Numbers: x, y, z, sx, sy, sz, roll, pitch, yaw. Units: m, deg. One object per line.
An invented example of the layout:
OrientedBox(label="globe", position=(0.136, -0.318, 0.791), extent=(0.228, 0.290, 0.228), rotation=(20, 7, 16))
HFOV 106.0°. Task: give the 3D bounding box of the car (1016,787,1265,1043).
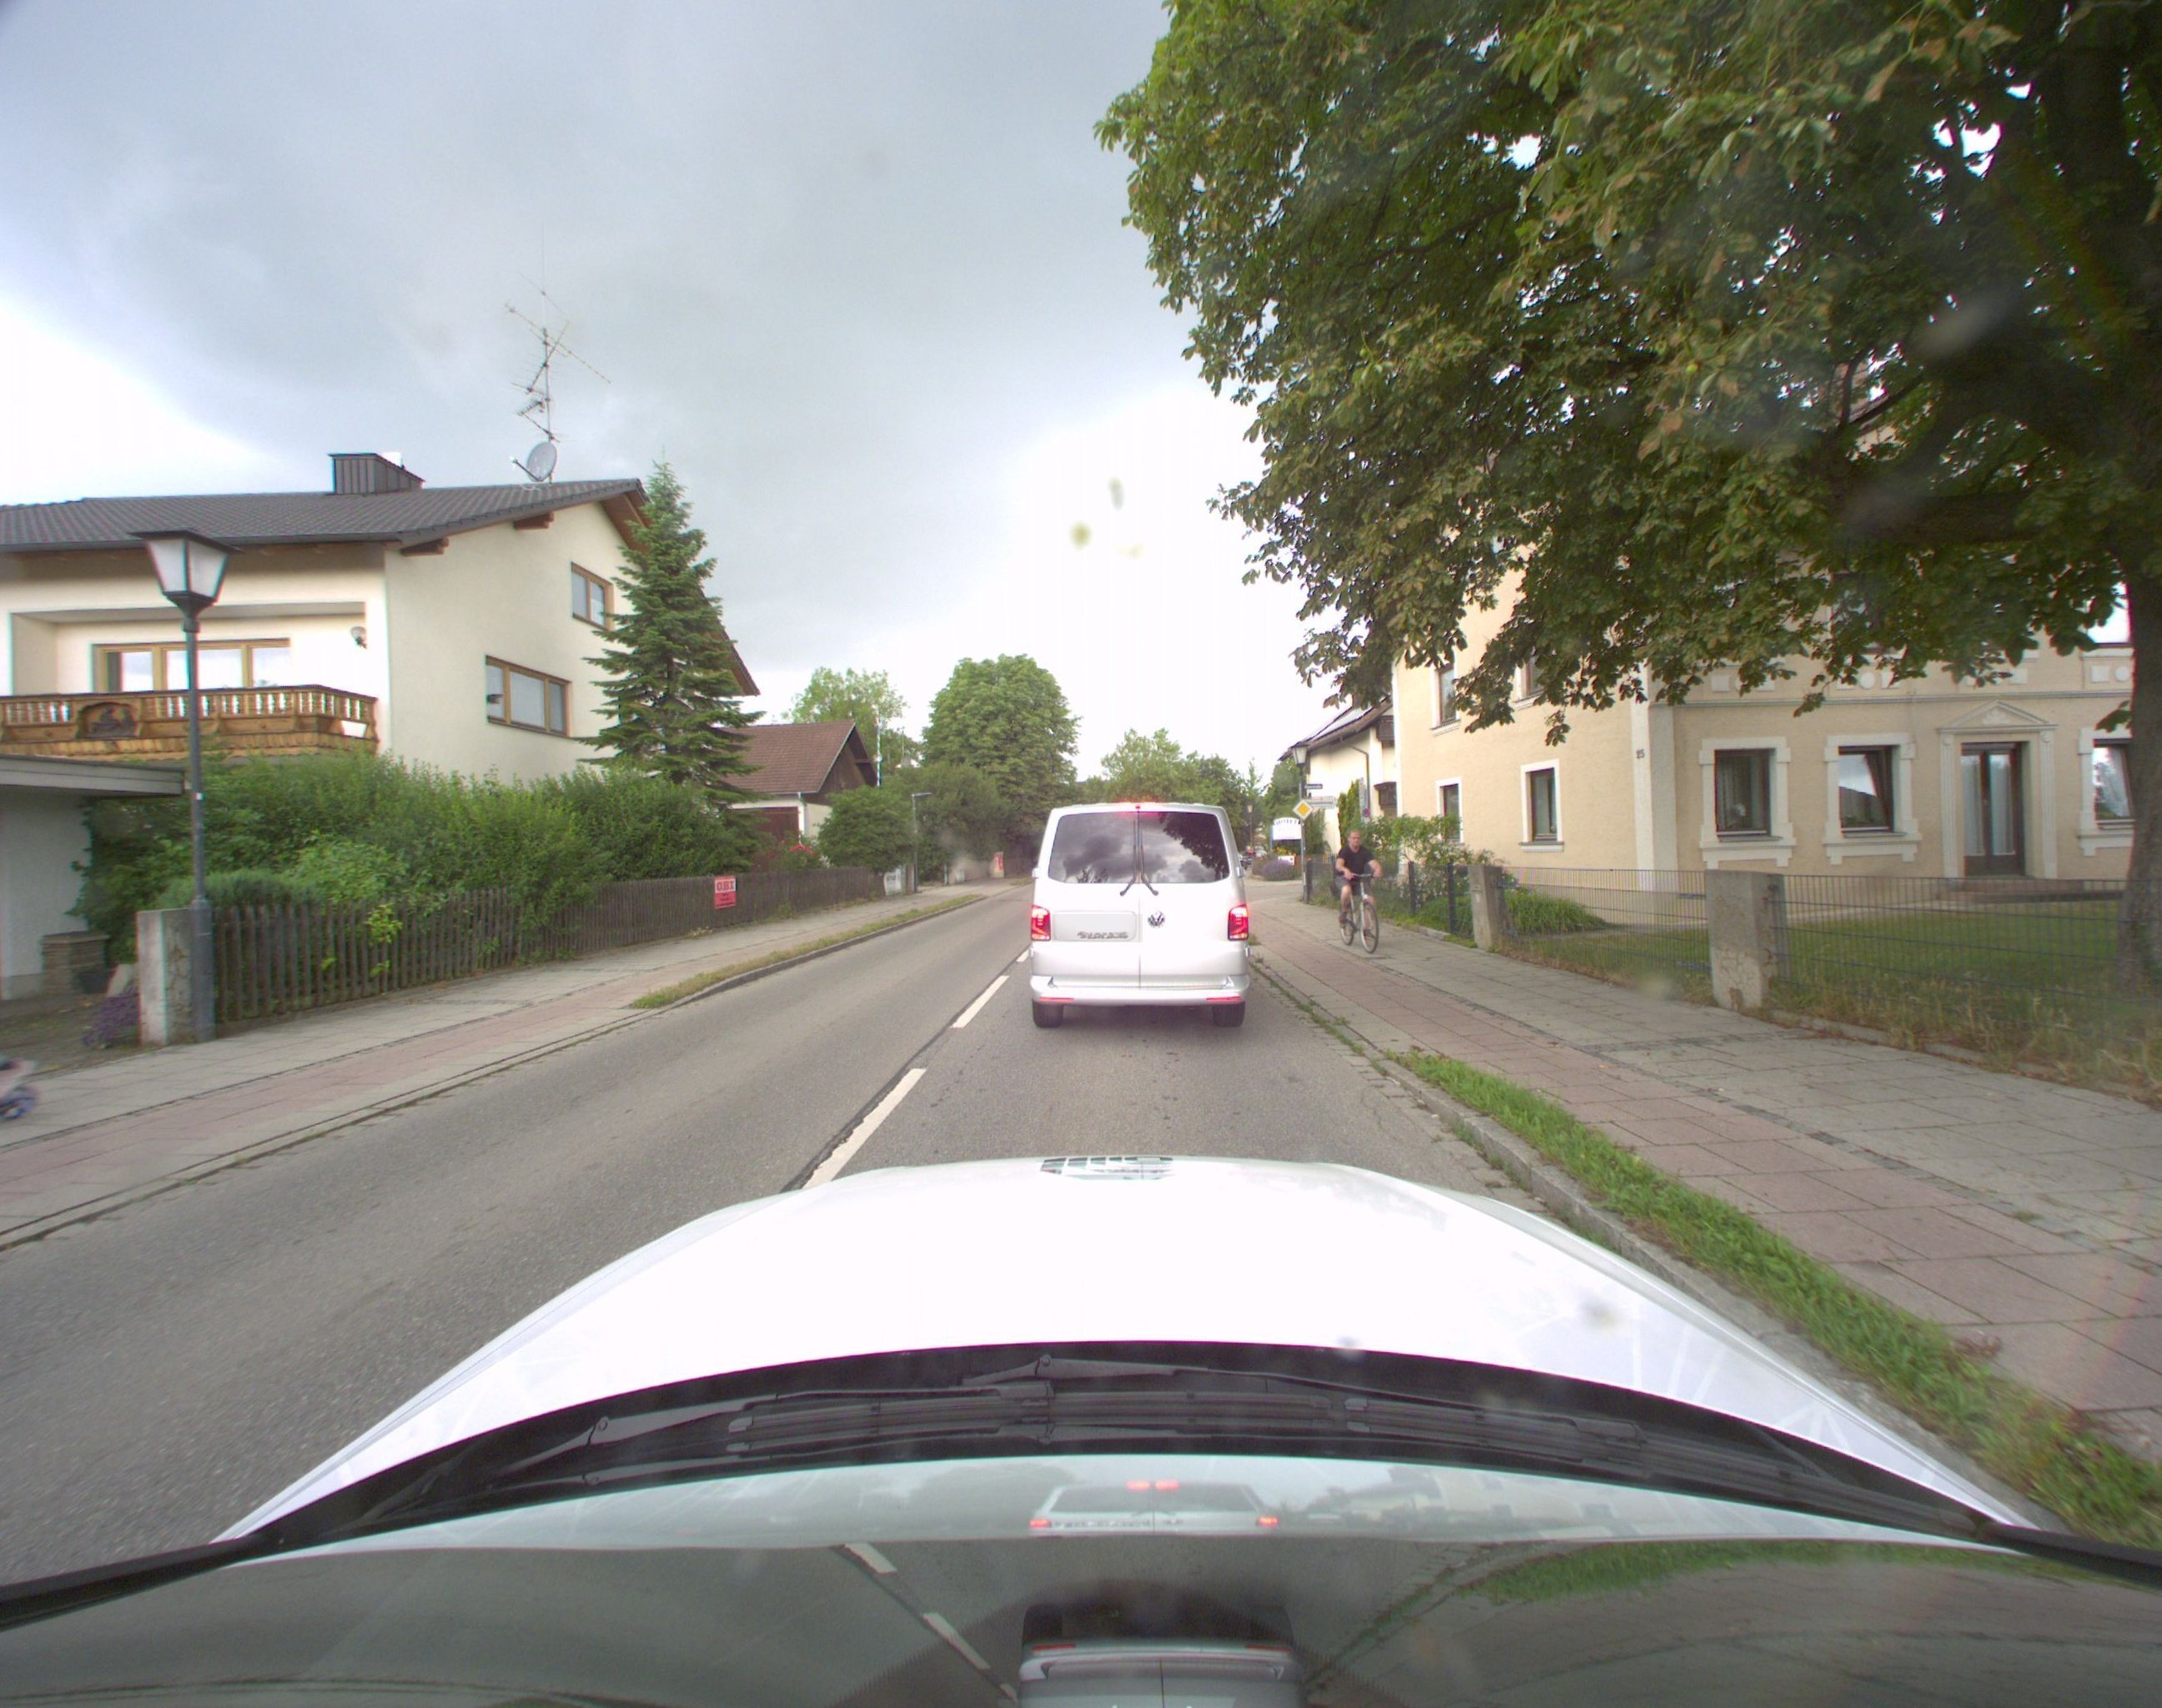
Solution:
OrientedBox(label="car", position=(0.558, 0.476, 8.269), extent=(1.873, 1.940, 3.924), rotation=(-2, 0, 3))

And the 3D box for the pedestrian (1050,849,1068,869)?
OrientedBox(label="pedestrian", position=(-2.071, 0.466, 77.577), extent=(1.327, 1.803, 1.059), rotation=(-1, 0, -30))

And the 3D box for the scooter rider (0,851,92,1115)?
OrientedBox(label="scooter rider", position=(-6.360, 0.735, 4.659), extent=(0.500, 1.489, 0.717), rotation=(-1, 0, 2))

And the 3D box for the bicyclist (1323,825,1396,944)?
OrientedBox(label="bicyclist", position=(4.041, 0.429, 11.884), extent=(0.733, 1.632, 0.891), rotation=(-2, 0, 3))

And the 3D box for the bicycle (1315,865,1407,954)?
OrientedBox(label="bicycle", position=(4.048, 0.760, 11.937), extent=(0.761, 1.143, 1.847), rotation=(-3, 0, 4))

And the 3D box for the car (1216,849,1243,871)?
OrientedBox(label="car", position=(12.545, 0.461, 68.514), extent=(1.867, 1.748, 4.097), rotation=(-2, 0, 15))

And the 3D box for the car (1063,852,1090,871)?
OrientedBox(label="car", position=(-0.338, 0.606, 67.447), extent=(1.922, 1.575, 4.315), rotation=(0, 0, 3))

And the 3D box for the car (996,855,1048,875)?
OrientedBox(label="car", position=(-4.613, 0.827, 63.871), extent=(3.982, 1.486, 1.996), rotation=(-1, 0, -6))

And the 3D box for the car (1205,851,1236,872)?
OrientedBox(label="car", position=(10.607, 0.544, 61.597), extent=(1.867, 1.535, 3.937), rotation=(-2, 0, 16))

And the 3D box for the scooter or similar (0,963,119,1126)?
OrientedBox(label="scooter or similar", position=(-6.359, 1.116, 4.613), extent=(0.519, 0.850, 1.062), rotation=(-1, 0, 3))

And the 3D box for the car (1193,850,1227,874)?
OrientedBox(label="car", position=(8.868, 0.555, 55.714), extent=(1.868, 1.535, 3.936), rotation=(-2, 0, 14))
